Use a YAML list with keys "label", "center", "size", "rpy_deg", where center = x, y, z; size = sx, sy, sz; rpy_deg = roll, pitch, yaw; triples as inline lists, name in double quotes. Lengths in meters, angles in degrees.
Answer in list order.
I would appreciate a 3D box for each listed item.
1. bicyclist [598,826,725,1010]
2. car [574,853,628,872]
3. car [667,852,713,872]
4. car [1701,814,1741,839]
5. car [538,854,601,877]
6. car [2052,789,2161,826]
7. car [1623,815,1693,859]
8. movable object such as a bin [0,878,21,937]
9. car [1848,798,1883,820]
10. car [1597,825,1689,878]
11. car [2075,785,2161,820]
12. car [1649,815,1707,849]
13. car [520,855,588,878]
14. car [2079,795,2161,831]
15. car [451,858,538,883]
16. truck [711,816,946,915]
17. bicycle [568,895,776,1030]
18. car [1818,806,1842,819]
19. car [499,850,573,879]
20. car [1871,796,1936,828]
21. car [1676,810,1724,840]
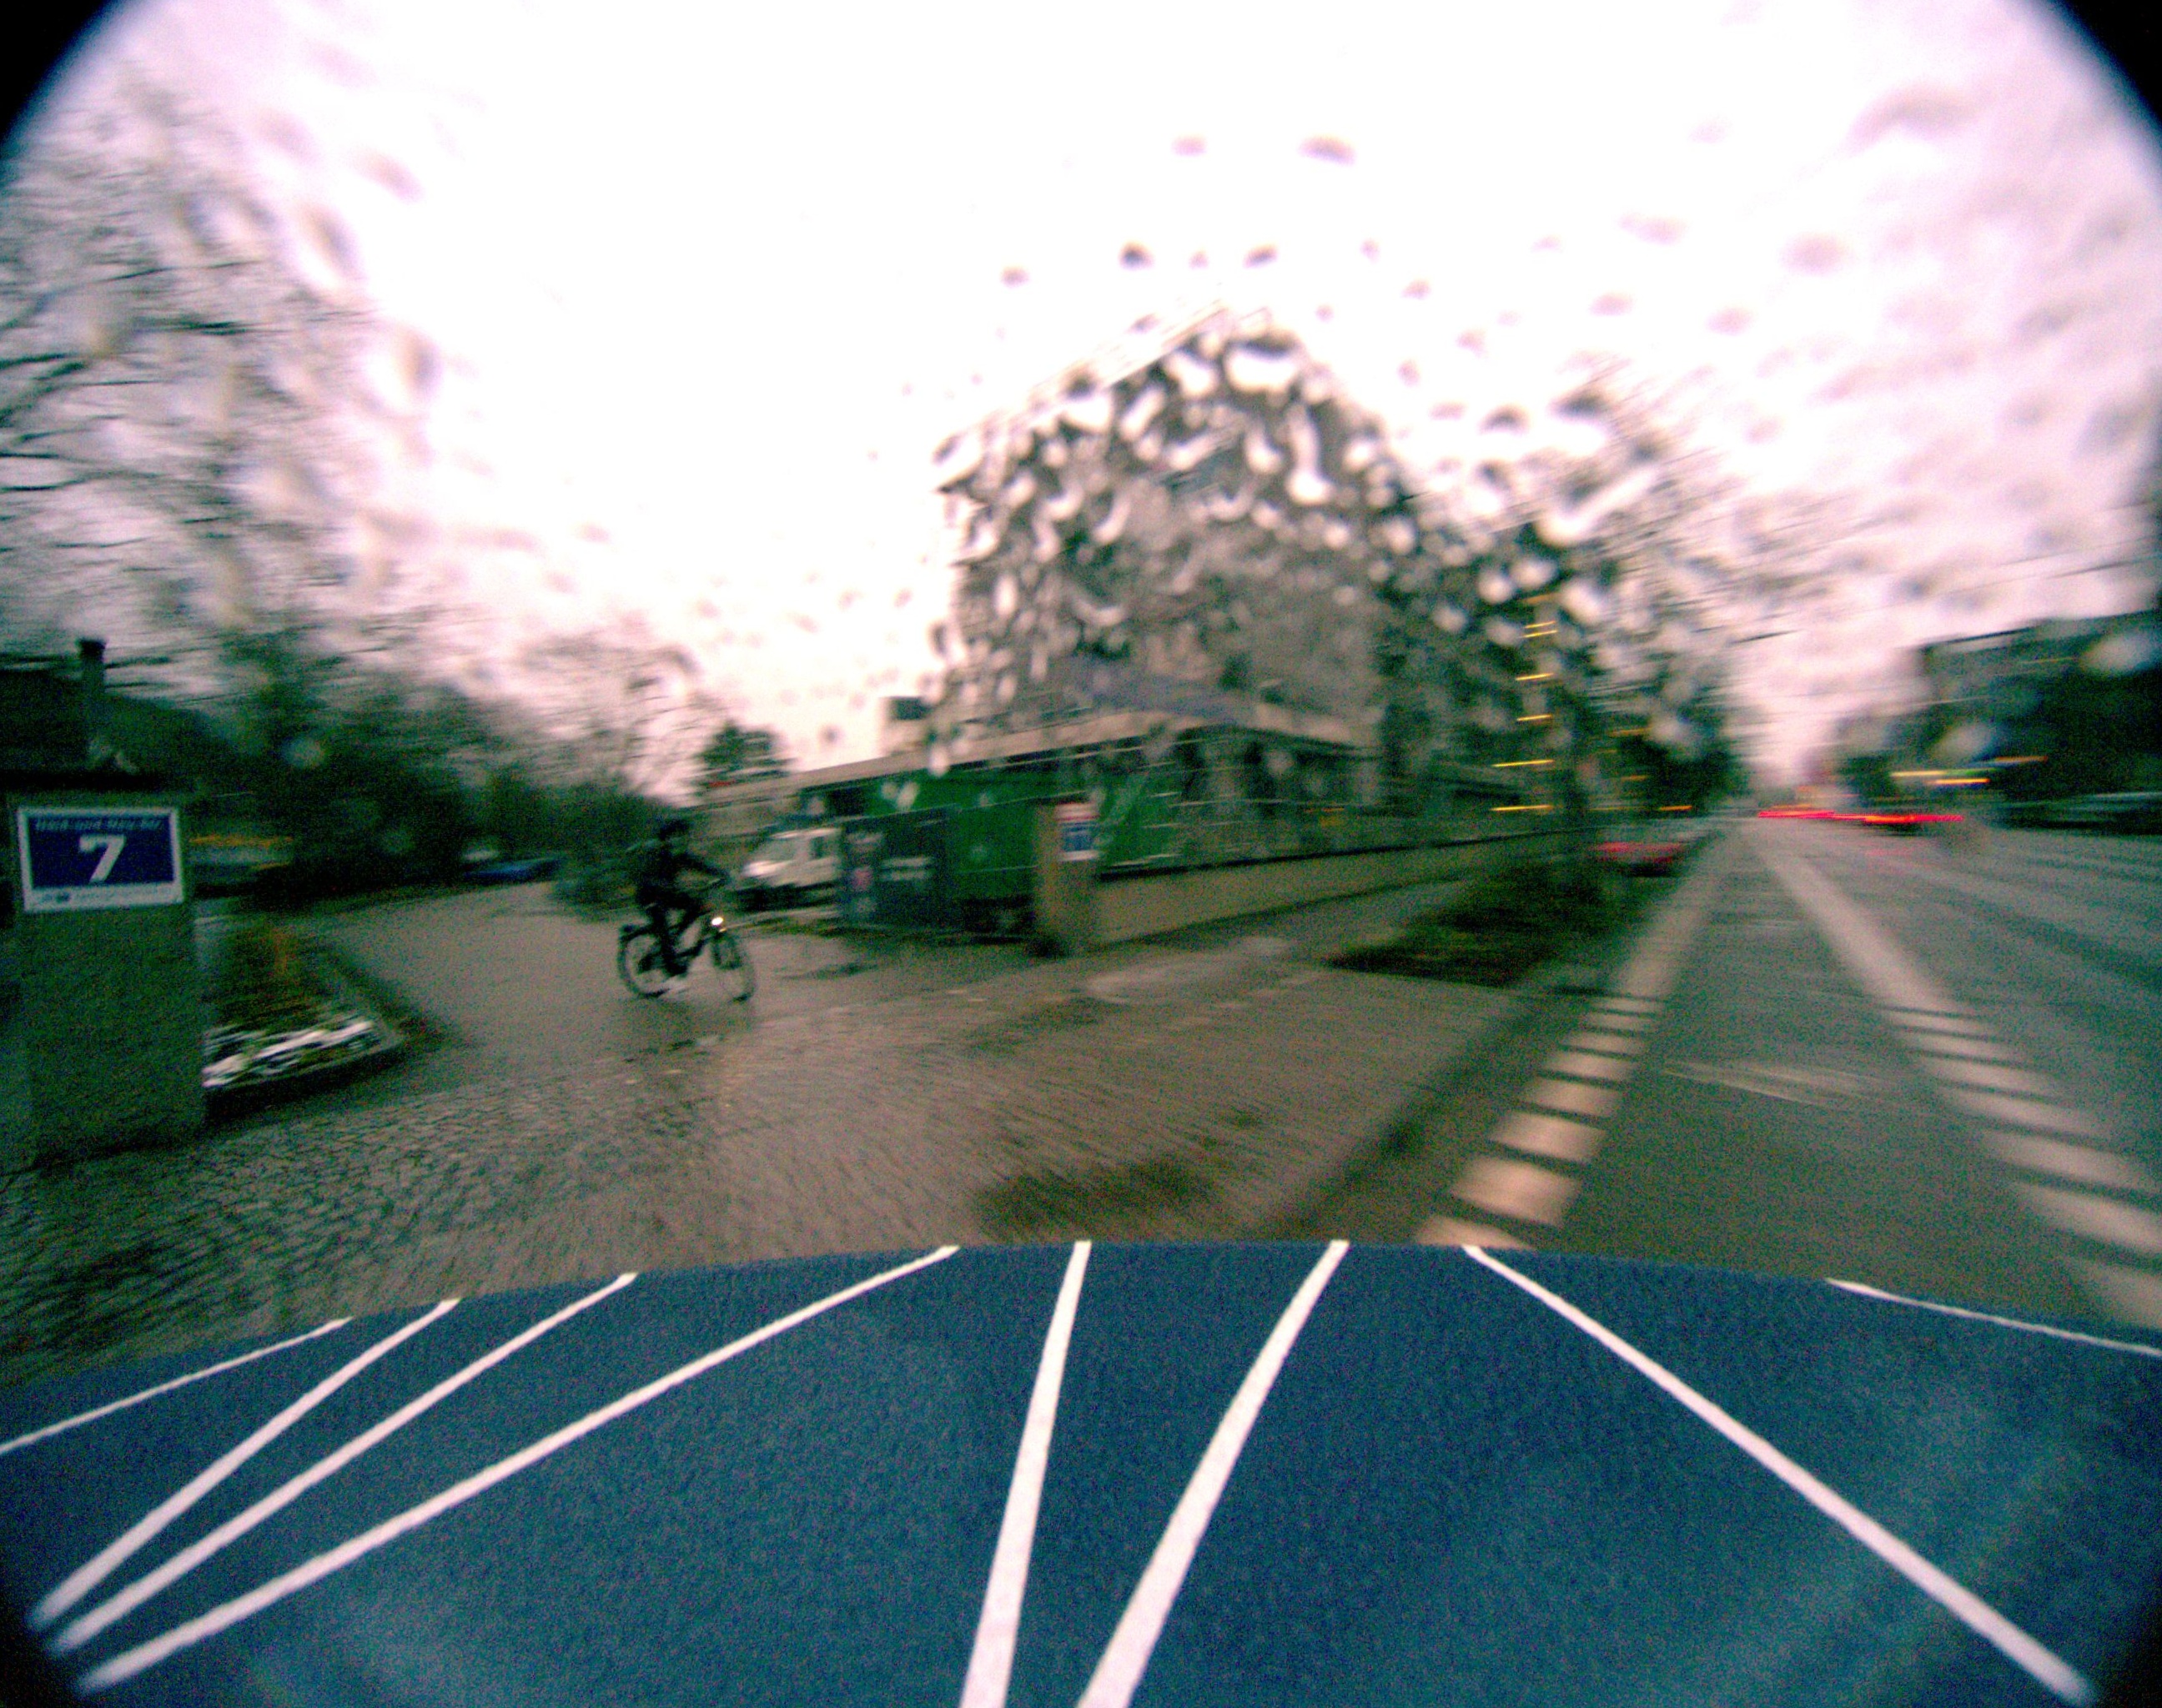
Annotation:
- label: "bicyclist"
  center: [-4.076, 0.580, 7.411]
  size: [0.769, 1.680, 0.708]
  rpy_deg: [-1, 2, 25]
- label: "car"
  center: [-46.911, 0.788, 74.305]
  size: [4.003, 1.652, 1.996]
  rpy_deg: [-2, 2, -19]
- label: "car"
  center: [-33.328, 0.647, 64.831]
  size: [3.313, 1.514, 1.700]
  rpy_deg: [-2, 2, -23]
- label: "car"
  center: [43.367, -1.891, 51.471]
  size: [1.862, 1.585, 4.008]
  rpy_deg: [0, 2, 43]
- label: "car"
  center: [-43.083, 0.950, 64.141]
  size: [4.003, 1.786, 1.799]
  rpy_deg: [-2, 2, -19]
- label: "car"
  center: [50.615, -2.253, 36.945]
  size: [2.004, 1.631, 3.988]
  rpy_deg: [-3, 2, -43]
- label: "car"
  center: [22.014, -0.659, 28.949]
  size: [1.749, 1.575, 3.743]
  rpy_deg: [0, 2, 43]
- label: "movable object such as a bin"
  center: [-25.460, 1.247, 17.273]
  size: [1.326, 1.309, 1.060]
  rpy_deg: [-1, 1, -38]
- label: "car"
  center: [62.009, -3.531, 60.107]
  size: [1.707, 1.570, 4.387]
  rpy_deg: [0, 2, 43]
- label: "car"
  center: [16.385, -0.109, 22.091]
  size: [1.749, 1.379, 3.743]
  rpy_deg: [0, 2, 43]
- label: "car"
  center: [48.839, -2.387, 34.726]
  size: [1.675, 1.477, 3.988]
  rpy_deg: [-3, 2, -43]
- label: "car"
  center: [29.122, -1.082, 37.026]
  size: [1.862, 1.585, 4.008]
  rpy_deg: [0, 2, 43]
- label: "car"
  center: [-42.357, 1.001, 61.167]
  size: [4.003, 1.652, 1.996]
  rpy_deg: [-2, 2, -19]
- label: "car"
  center: [45.781, -1.755, 32.252]
  size: [1.675, 1.477, 3.988]
  rpy_deg: [-3, 2, -43]
- label: "car"
  center: [-39.178, 1.107, 50.883]
  size: [4.185, 1.469, 1.997]
  rpy_deg: [-2, -1, -22]
- label: "truck"
  center: [-7.611, 0.180, 24.032]
  size: [2.126, 2.574, 7.092]
  rpy_deg: [0, 3, 34]
- label: "bicycle"
  center: [-3.987, 0.996, 7.398]
  size: [1.889, 1.126, 0.732]
  rpy_deg: [-1, 2, 24]
- label: "car"
  center: [87.908, -4.888, 89.219]
  size: [1.762, 1.403, 4.008]
  rpy_deg: [0, 2, 41]
- label: "car"
  center: [-40.575, 0.779, 56.720]
  size: [4.003, 1.980, 1.996]
  rpy_deg: [-2, 2, -19]
- label: "car"
  center: [44.147, -2.224, 40.875]
  size: [1.748, 1.536, 4.303]
  rpy_deg: [0, 2, 38]
- label: "car"
  center: [35.632, -1.659, 43.731]
  size: [1.862, 1.585, 4.008]
  rpy_deg: [0, 2, 43]
